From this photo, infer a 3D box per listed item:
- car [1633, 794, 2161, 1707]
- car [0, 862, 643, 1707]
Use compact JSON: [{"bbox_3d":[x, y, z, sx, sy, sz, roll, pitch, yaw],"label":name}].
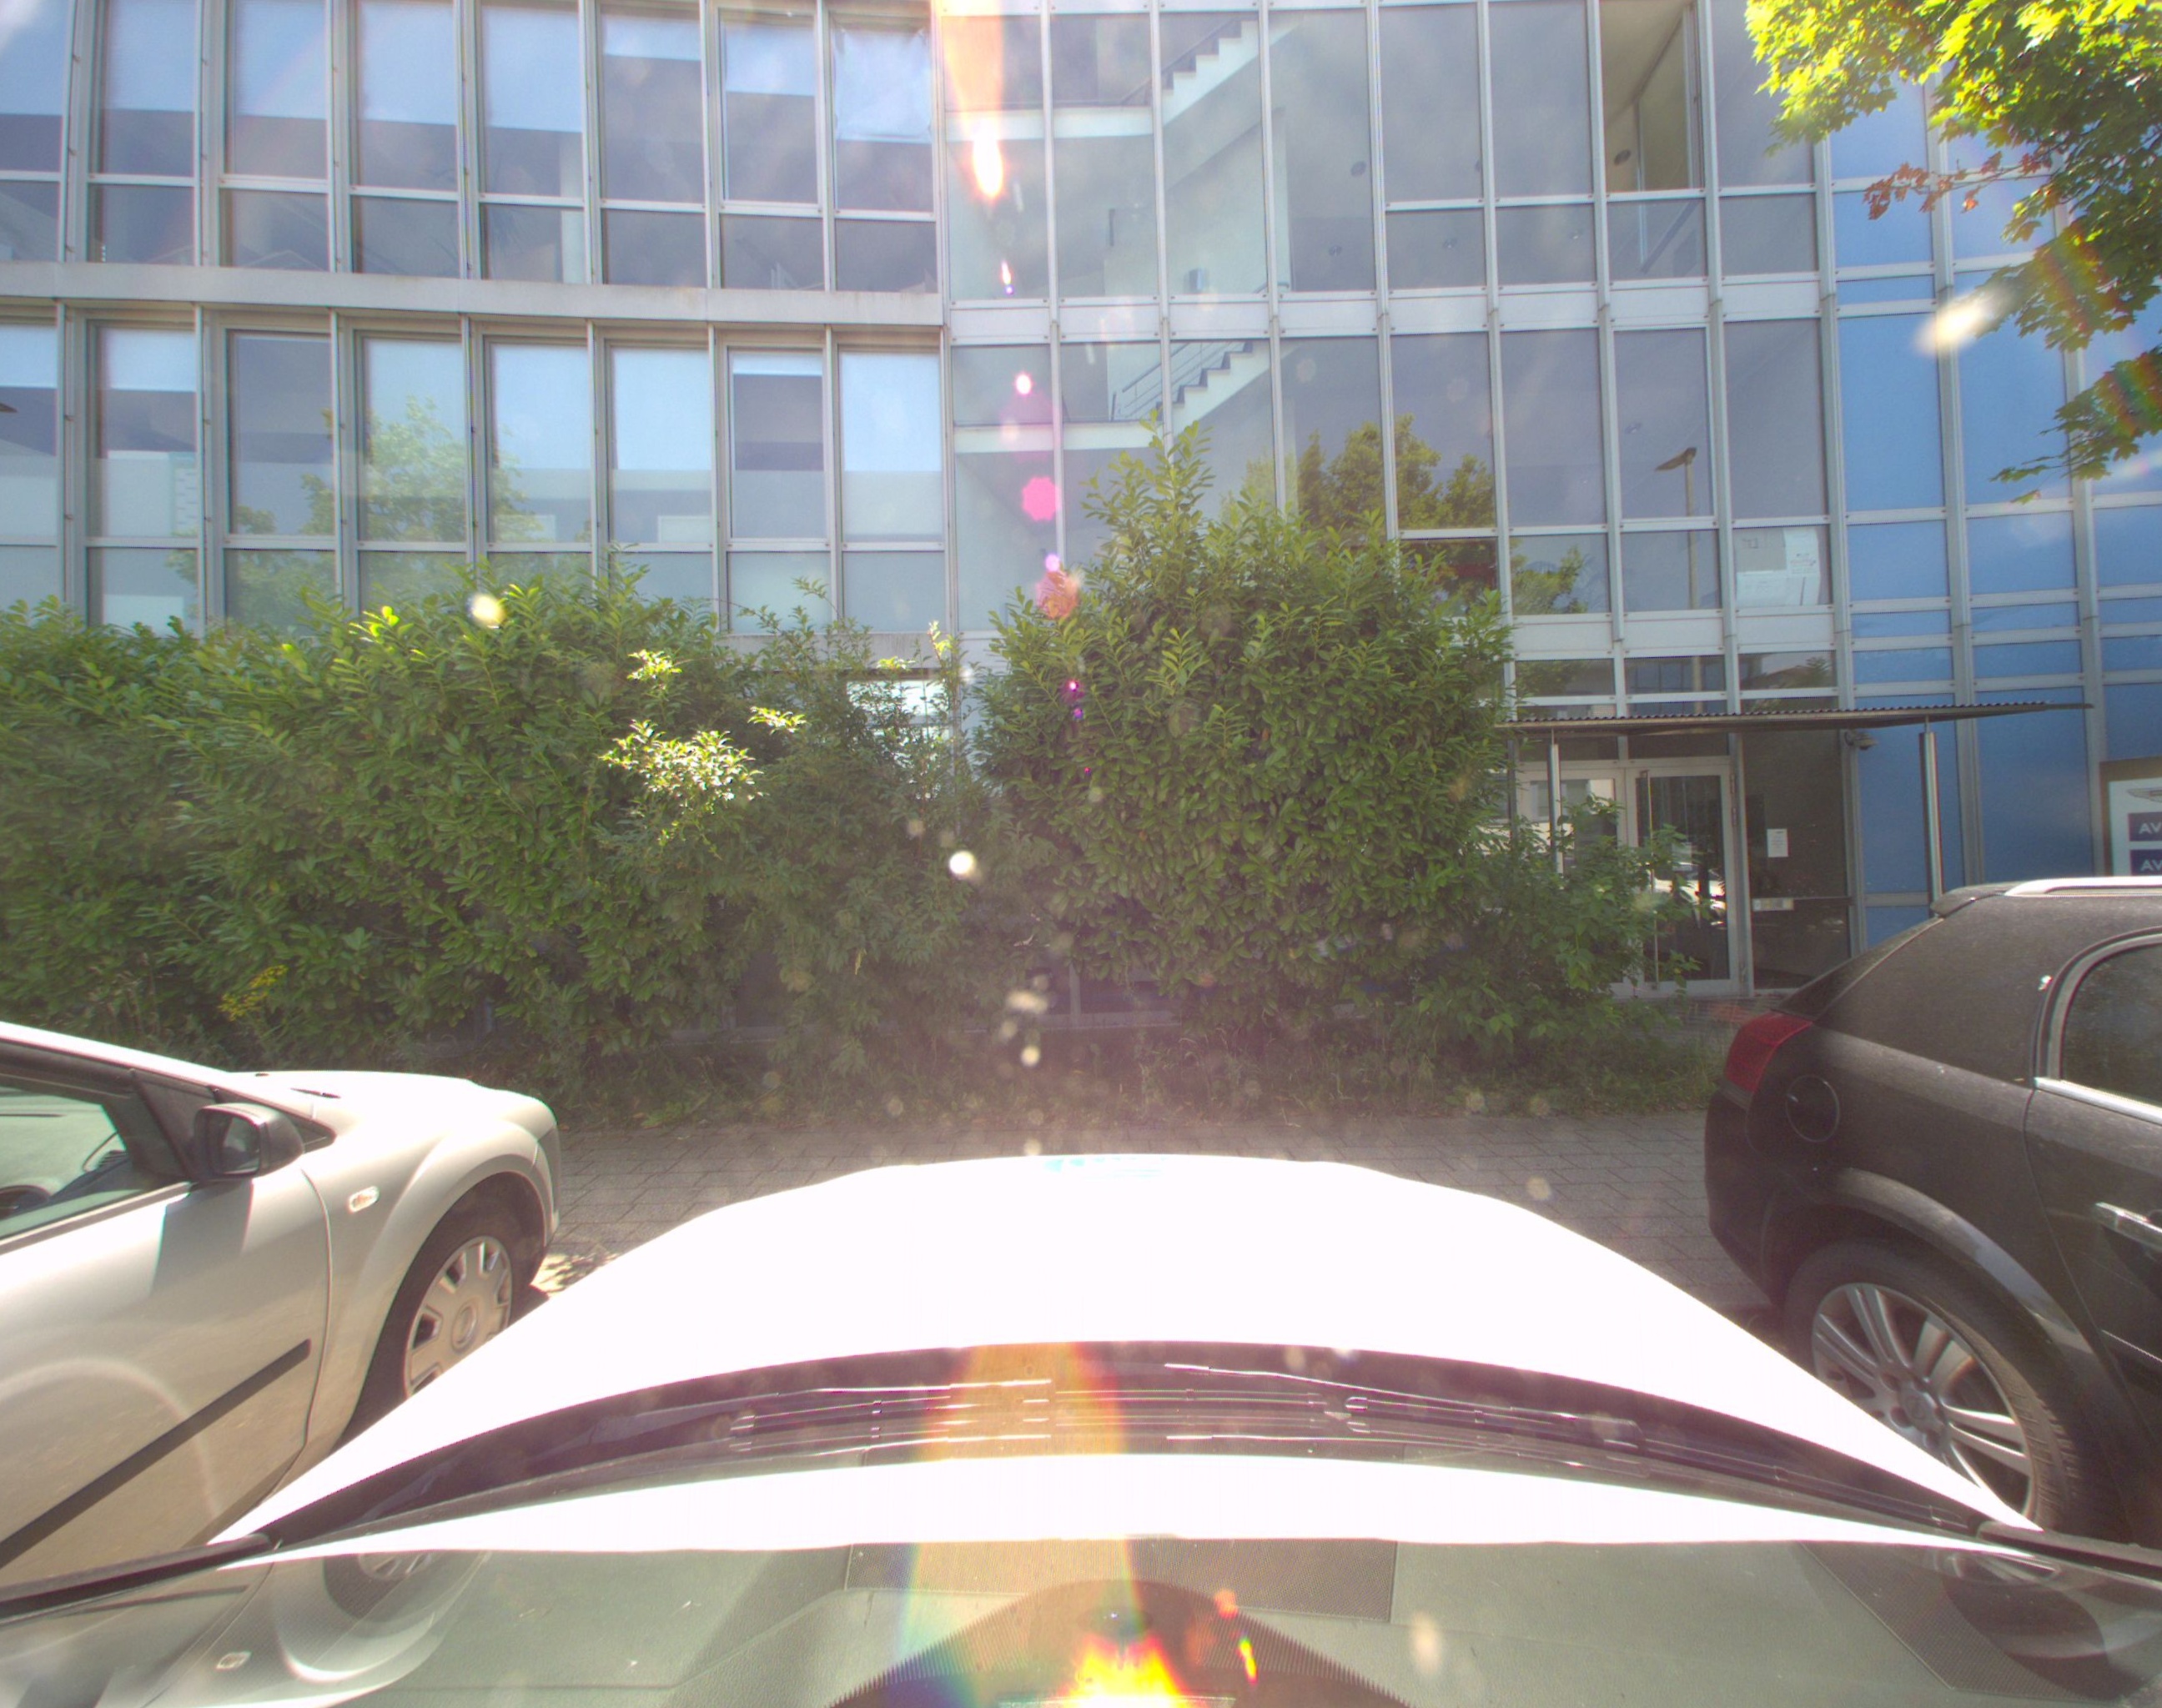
[{"bbox_3d":[2.555,0.669,0.282,1.751,1.549,4.567,0,0,2],"label":"car"},{"bbox_3d":[-2.313,0.766,0.666,1.715,1.479,4.344,0,0,-3],"label":"car"}]
